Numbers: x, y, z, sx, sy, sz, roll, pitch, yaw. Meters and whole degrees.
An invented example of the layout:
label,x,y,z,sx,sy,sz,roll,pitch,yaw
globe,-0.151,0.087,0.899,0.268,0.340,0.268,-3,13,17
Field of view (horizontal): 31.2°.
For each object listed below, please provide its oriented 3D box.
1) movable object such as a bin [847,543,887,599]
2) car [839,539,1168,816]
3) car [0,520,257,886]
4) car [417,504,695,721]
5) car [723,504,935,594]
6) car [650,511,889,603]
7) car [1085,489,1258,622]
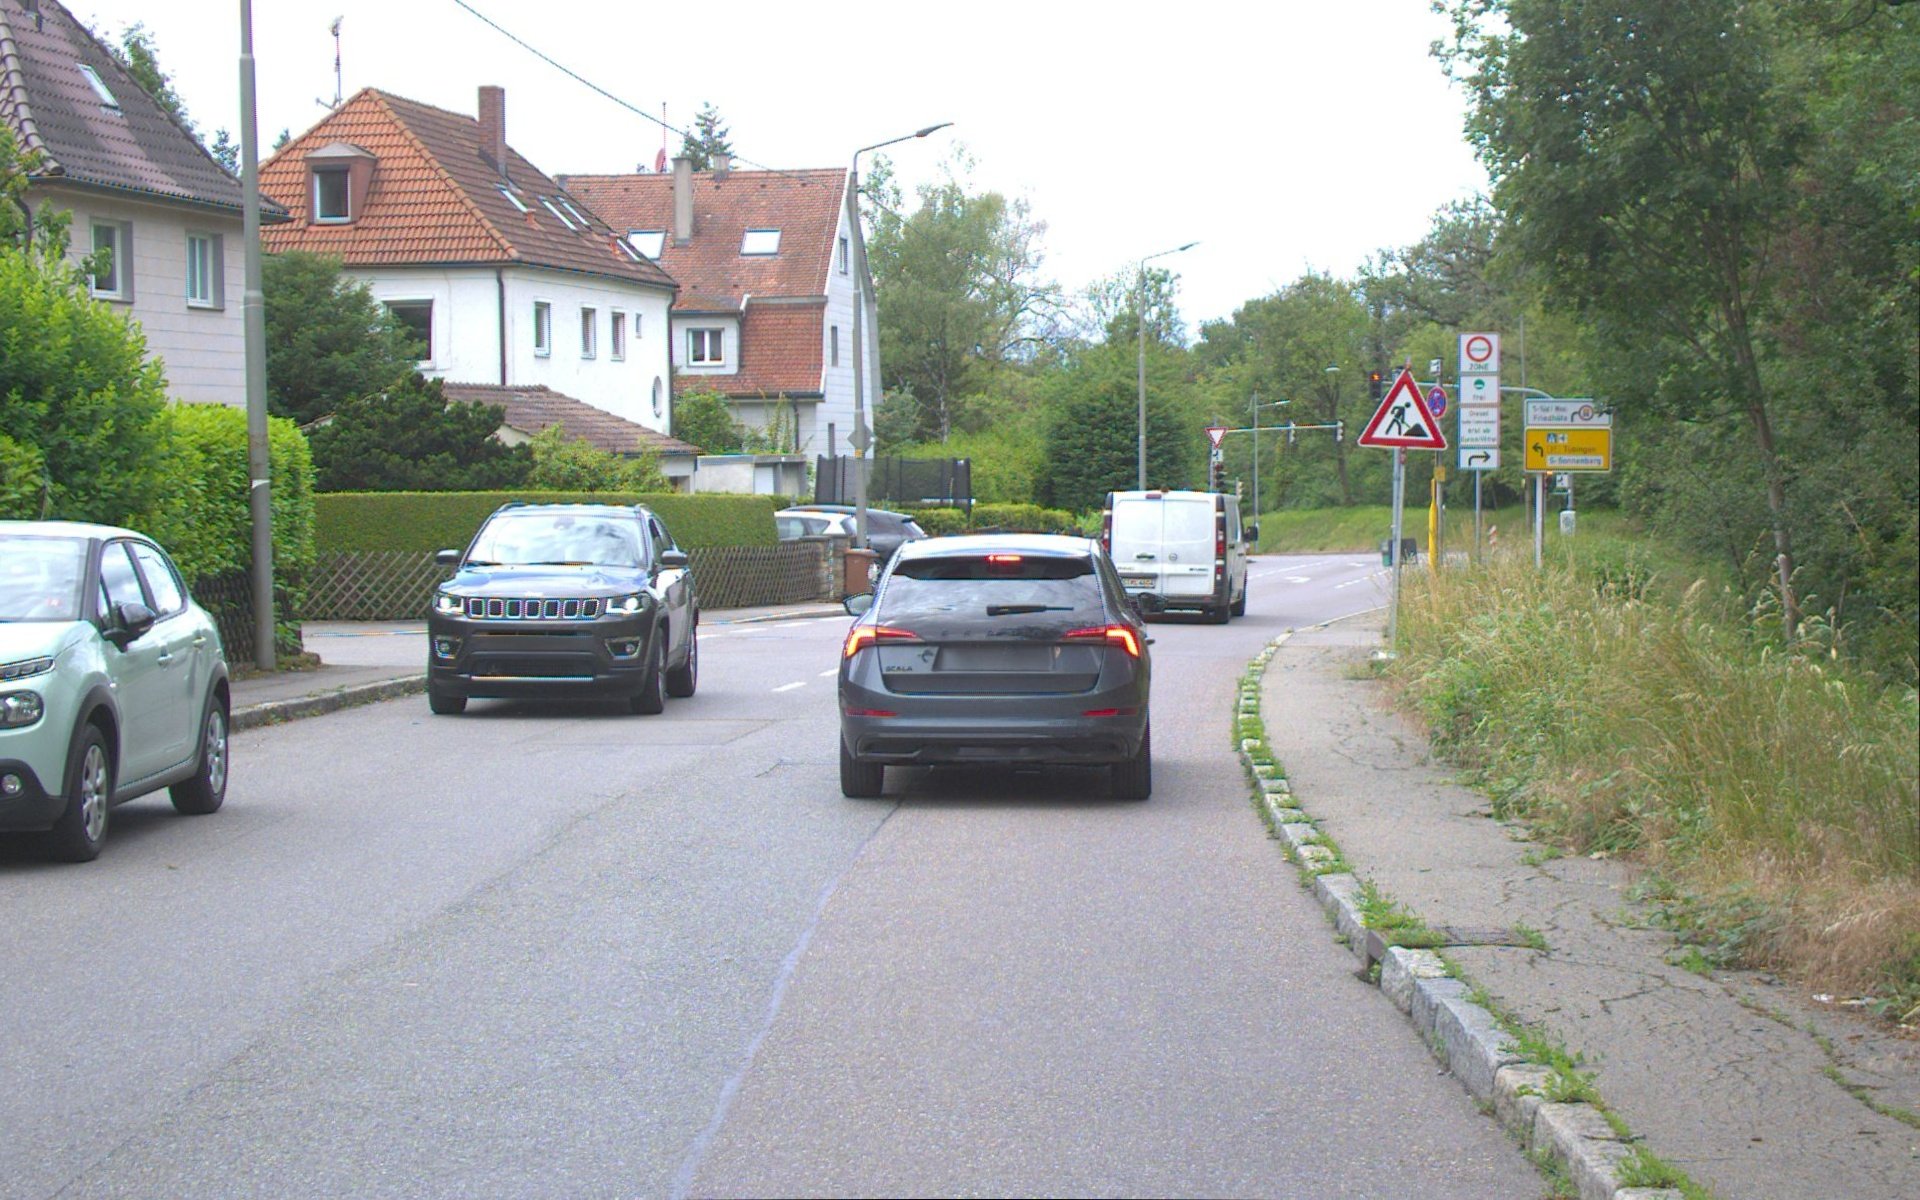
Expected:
label,x,y,z,sx,sy,sz,roll,pitch,yaw
movable object such as a bin,-1.586,-0.495,58.581,0.599,0.947,0.579,0,1,6
car,0.181,0.373,20.293,1.728,1.434,4.324,0,1,-1
car,-4.604,0.374,16.043,1.783,1.495,4.015,1,1,1
car,-3.179,0.034,27.814,1.833,1.591,4.324,0,2,-1
car,-2.535,-1.004,67.099,3.987,1.700,1.916,0,1,2
car,-3.417,-0.781,62.156,3.988,1.612,1.999,0,1,8
car,3.267,-0.694,52.211,2.072,1.915,4.920,0,1,10
